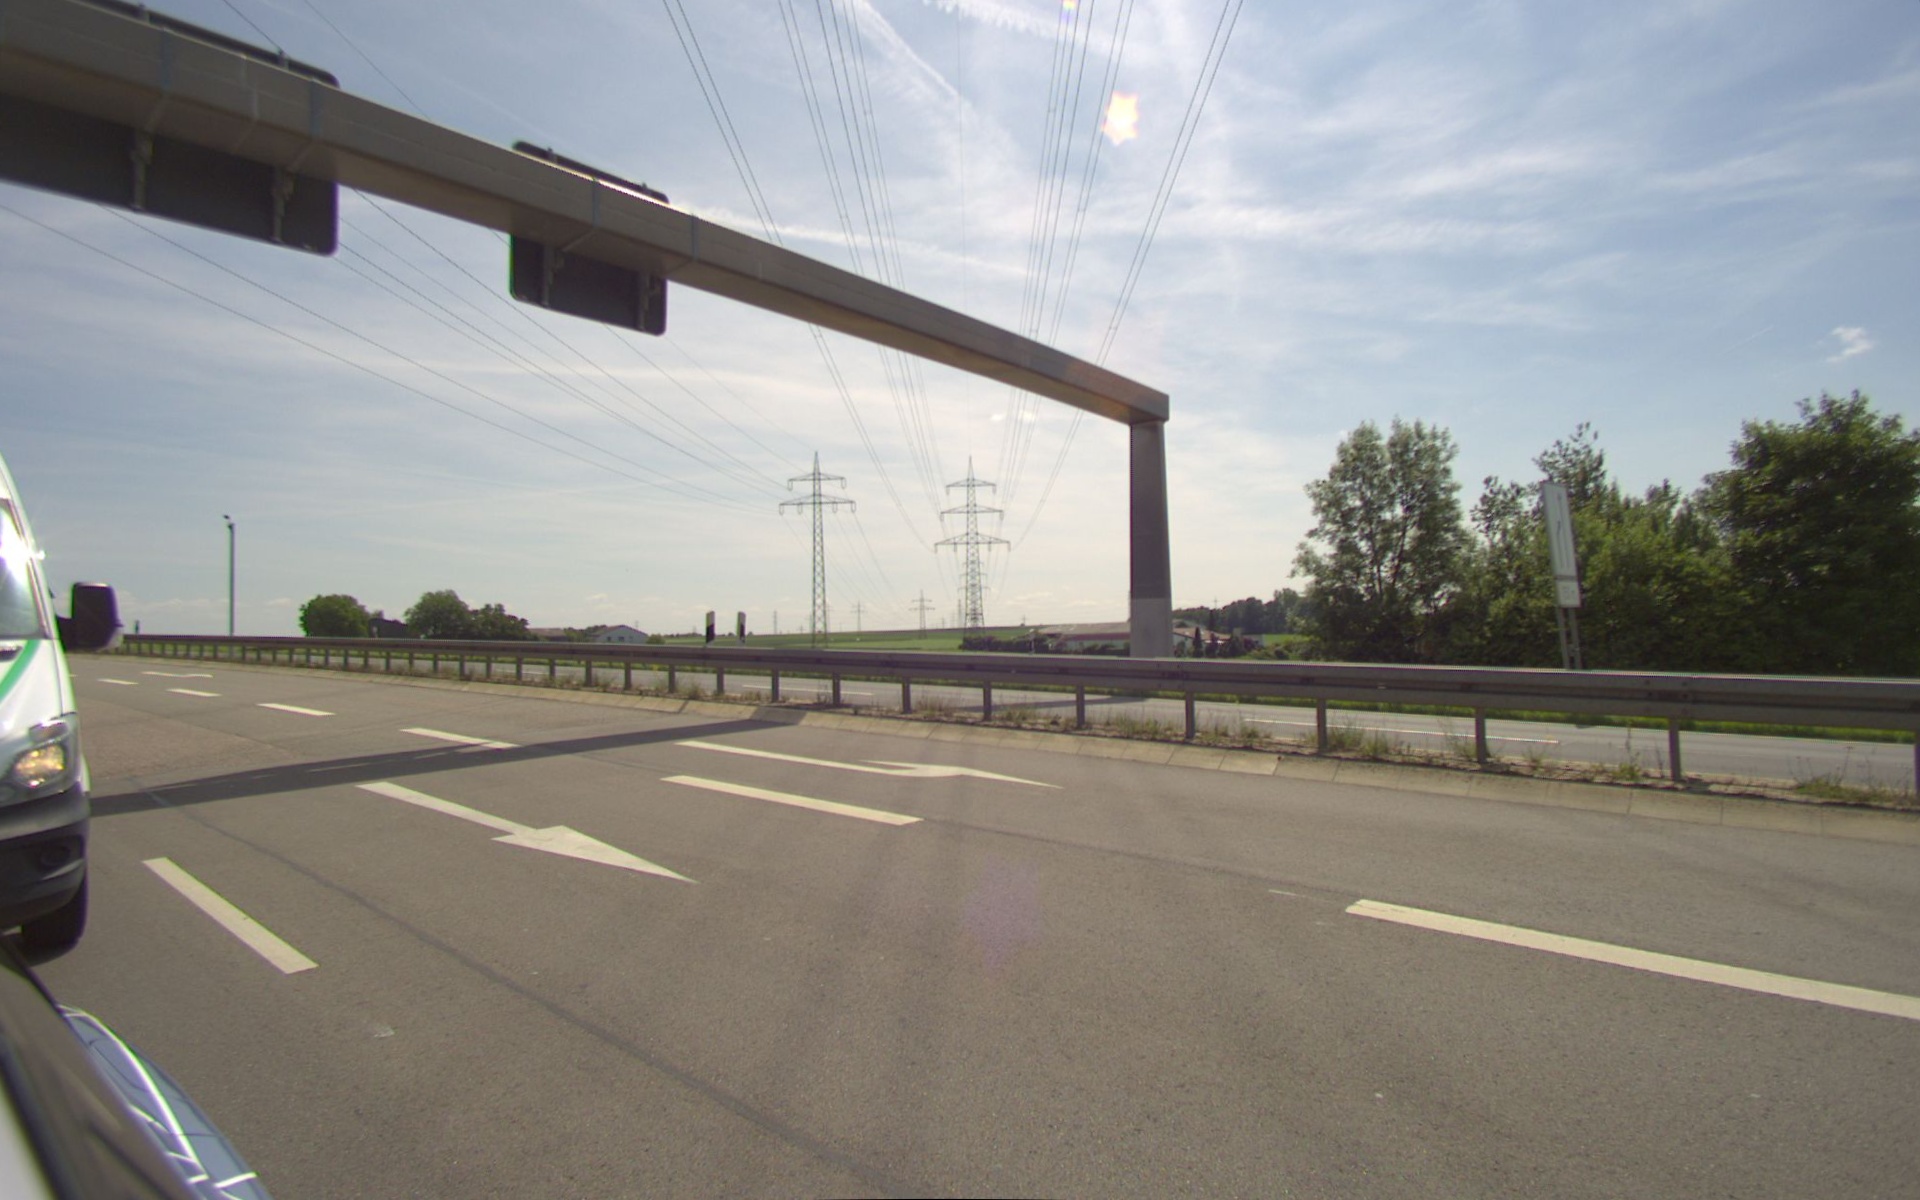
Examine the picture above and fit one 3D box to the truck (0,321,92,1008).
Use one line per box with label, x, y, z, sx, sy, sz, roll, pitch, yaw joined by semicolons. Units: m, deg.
truck;-5.929;0.279;4.955;5.105;2.552;1.972;-1;-1;43
